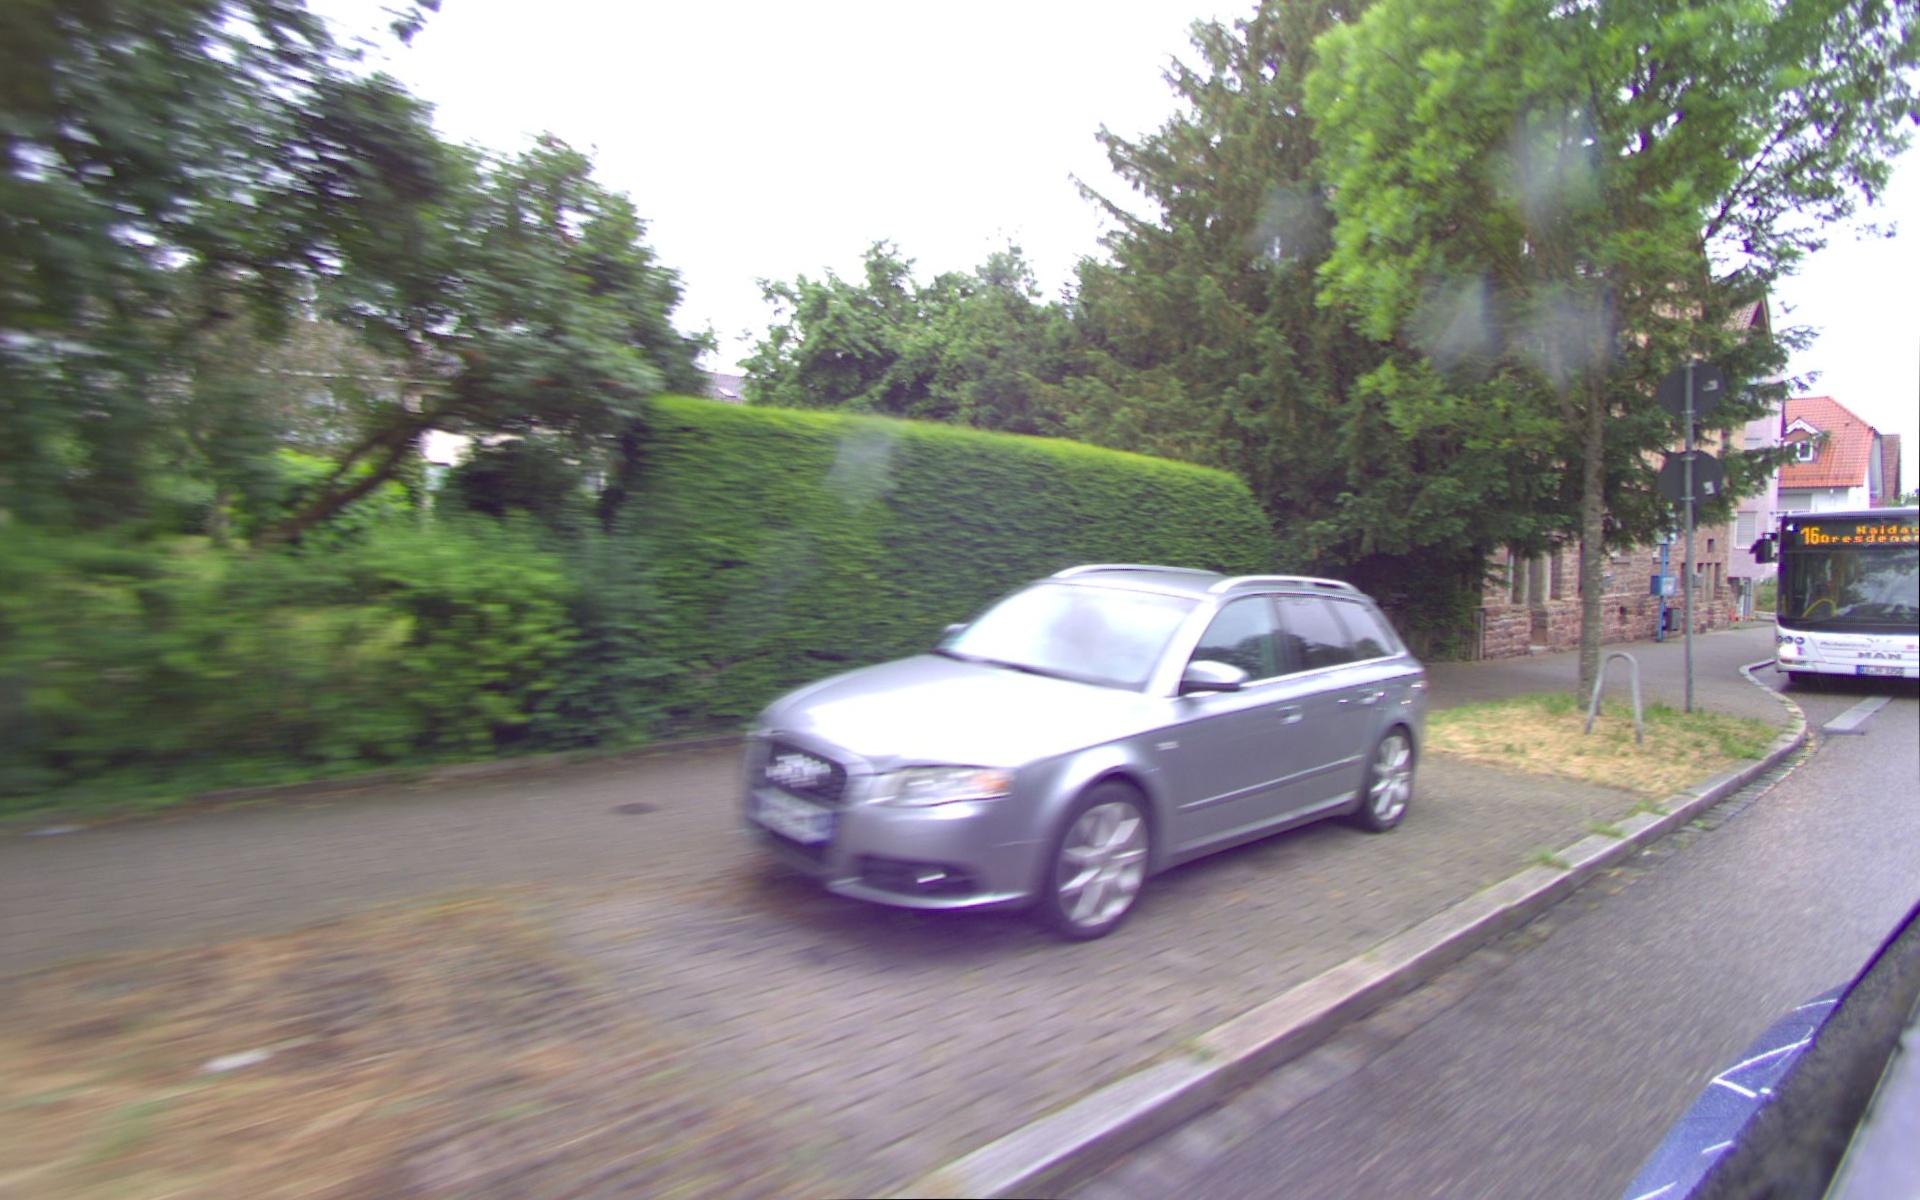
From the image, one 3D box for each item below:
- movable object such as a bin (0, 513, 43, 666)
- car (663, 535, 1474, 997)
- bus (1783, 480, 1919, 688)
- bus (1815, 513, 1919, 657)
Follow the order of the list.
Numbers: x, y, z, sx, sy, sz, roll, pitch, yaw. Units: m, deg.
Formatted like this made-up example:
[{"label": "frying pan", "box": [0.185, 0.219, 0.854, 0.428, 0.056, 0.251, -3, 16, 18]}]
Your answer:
[{"label": "movable object such as a bin", "box": [-7.458, -0.090, 7.704, 0.691, 1.135, 0.788, 0, 1, -43]}, {"label": "car", "box": [0.911, 0.489, 5.300, 4.423, 1.406, 1.691, 0, 4, -43]}, {"label": "bus", "box": [16.760, -0.280, 18.096, 2.556, 2.996, 9.304, 2, 2, 43]}, {"label": "bus", "box": [22.930, -0.353, 24.081, 8.406, 2.996, 2.560, 0, 2, -40]}]
